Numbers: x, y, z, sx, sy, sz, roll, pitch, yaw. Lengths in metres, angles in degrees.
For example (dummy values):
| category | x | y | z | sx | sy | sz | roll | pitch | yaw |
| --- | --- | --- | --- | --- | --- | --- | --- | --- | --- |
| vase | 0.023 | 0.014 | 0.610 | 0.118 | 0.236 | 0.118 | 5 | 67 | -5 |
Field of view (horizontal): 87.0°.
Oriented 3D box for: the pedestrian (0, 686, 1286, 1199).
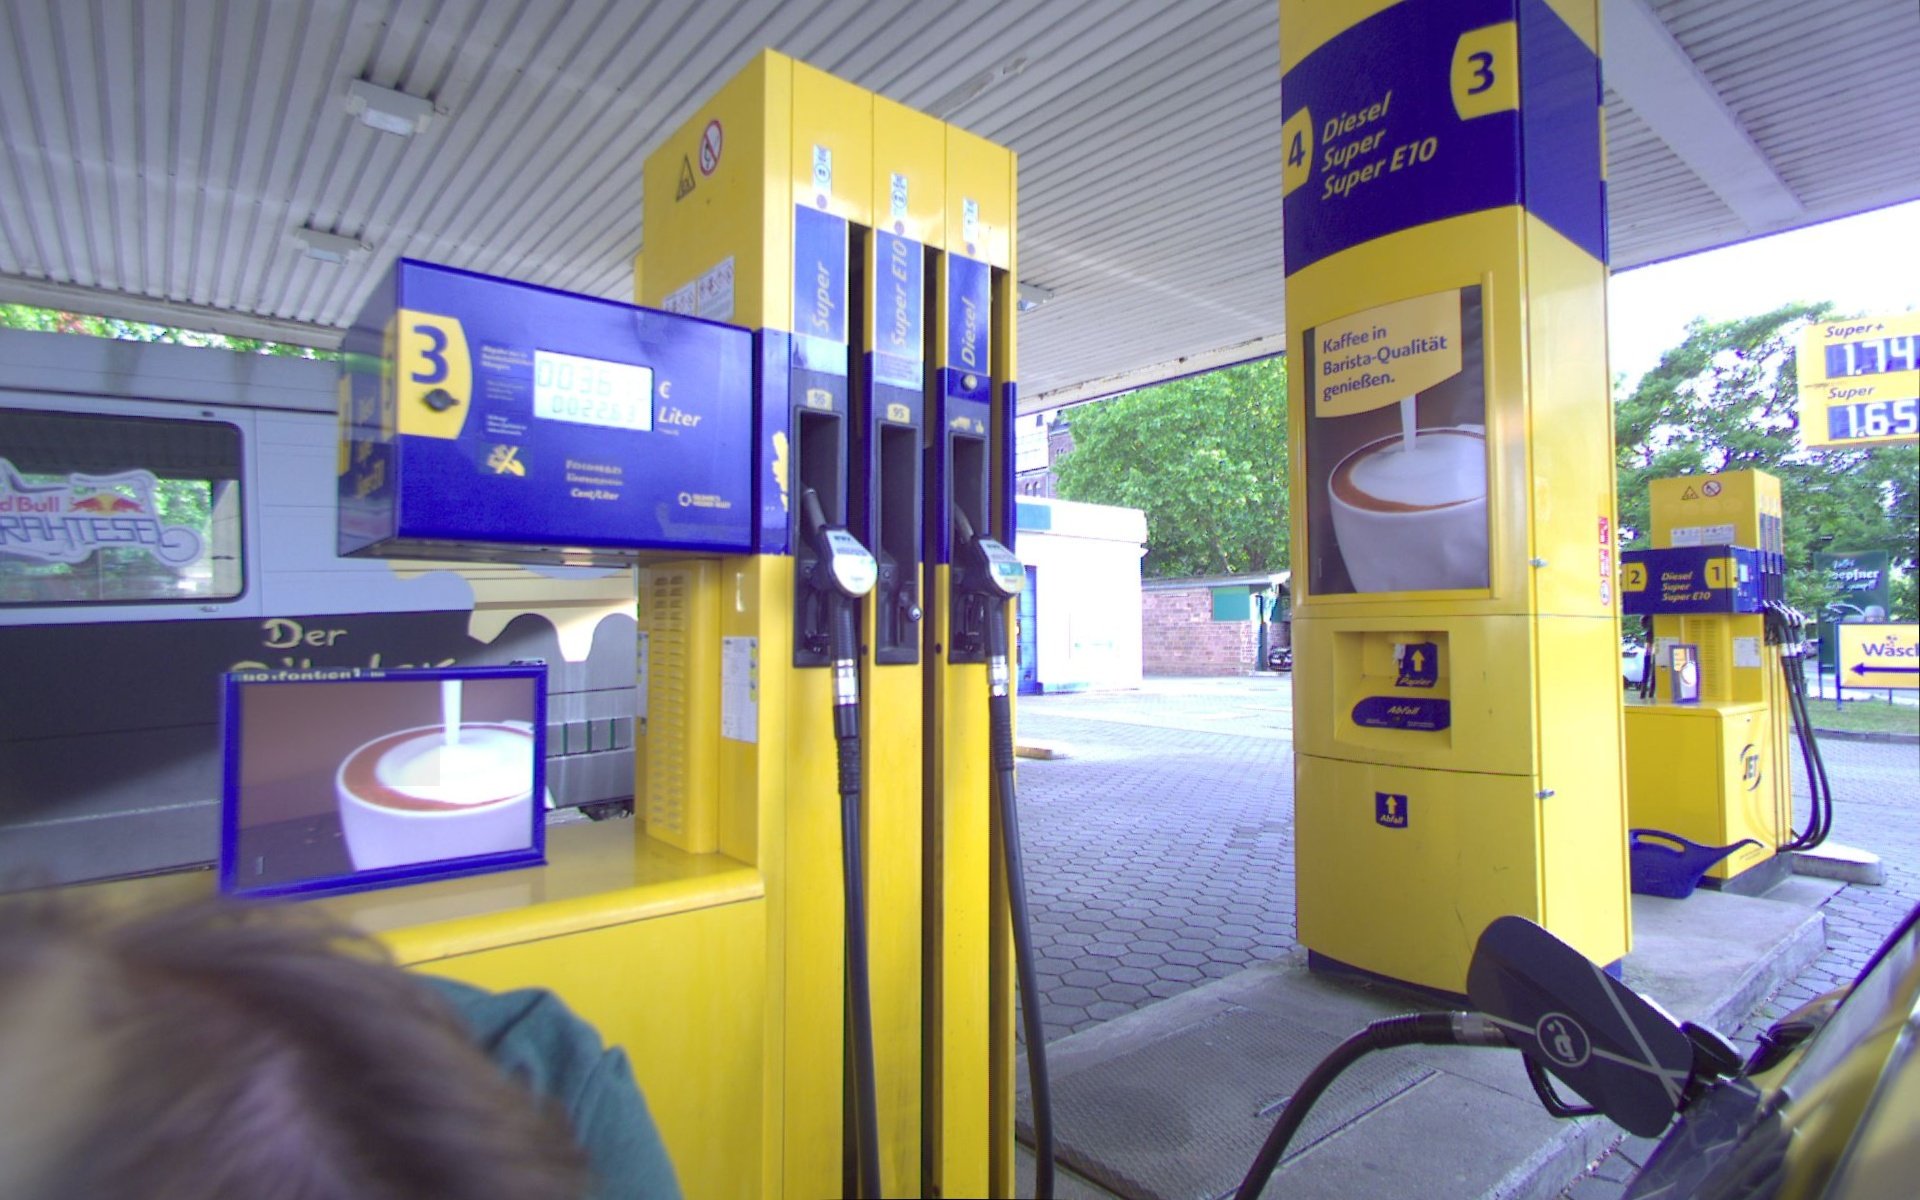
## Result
| category | x | y | z | sx | sy | sz | roll | pitch | yaw |
| --- | --- | --- | --- | --- | --- | --- | --- | --- | --- |
| pedestrian | -0.337 | 0.743 | 0.538 | 0.662 | 1.298 | 0.751 | 0 | 0 | -41 |

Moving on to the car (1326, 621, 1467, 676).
| category | x | y | z | sx | sy | sz | roll | pitch | yaw |
| --- | --- | --- | --- | --- | --- | --- | --- | --- | --- |
| car | 13.882 | 1.531 | 32.129 | 4.303 | 1.622 | 1.777 | 2 | -1 | -28 |

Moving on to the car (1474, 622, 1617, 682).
| category | x | y | z | sx | sy | sz | roll | pitch | yaw |
| --- | --- | --- | --- | --- | --- | --- | --- | --- | --- |
| car | 17.842 | 1.591 | 30.795 | 4.303 | 1.622 | 1.776 | 4 | -4 | -28 |

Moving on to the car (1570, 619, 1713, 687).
| category | x | y | z | sx | sy | sz | roll | pitch | yaw |
| --- | --- | --- | --- | --- | --- | --- | --- | --- | --- |
| car | 18.352 | 1.448 | 27.196 | 4.308 | 1.622 | 1.774 | 4 | -4 | -35 |

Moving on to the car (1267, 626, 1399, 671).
| category | x | y | z | sx | sy | sz | roll | pitch | yaw |
| --- | --- | --- | --- | --- | --- | --- | --- | --- | --- |
| car | 12.686 | 1.653 | 34.421 | 4.303 | 1.393 | 1.777 | 2 | -1 | -28 |

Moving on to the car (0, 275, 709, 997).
| category | x | y | z | sx | sy | sz | roll | pitch | yaw |
| --- | --- | --- | --- | --- | --- | --- | --- | --- | --- |
| car | -4.111 | 0.153 | 4.885 | 5.197 | 2.726 | 2.258 | 1 | -2 | -39 |
